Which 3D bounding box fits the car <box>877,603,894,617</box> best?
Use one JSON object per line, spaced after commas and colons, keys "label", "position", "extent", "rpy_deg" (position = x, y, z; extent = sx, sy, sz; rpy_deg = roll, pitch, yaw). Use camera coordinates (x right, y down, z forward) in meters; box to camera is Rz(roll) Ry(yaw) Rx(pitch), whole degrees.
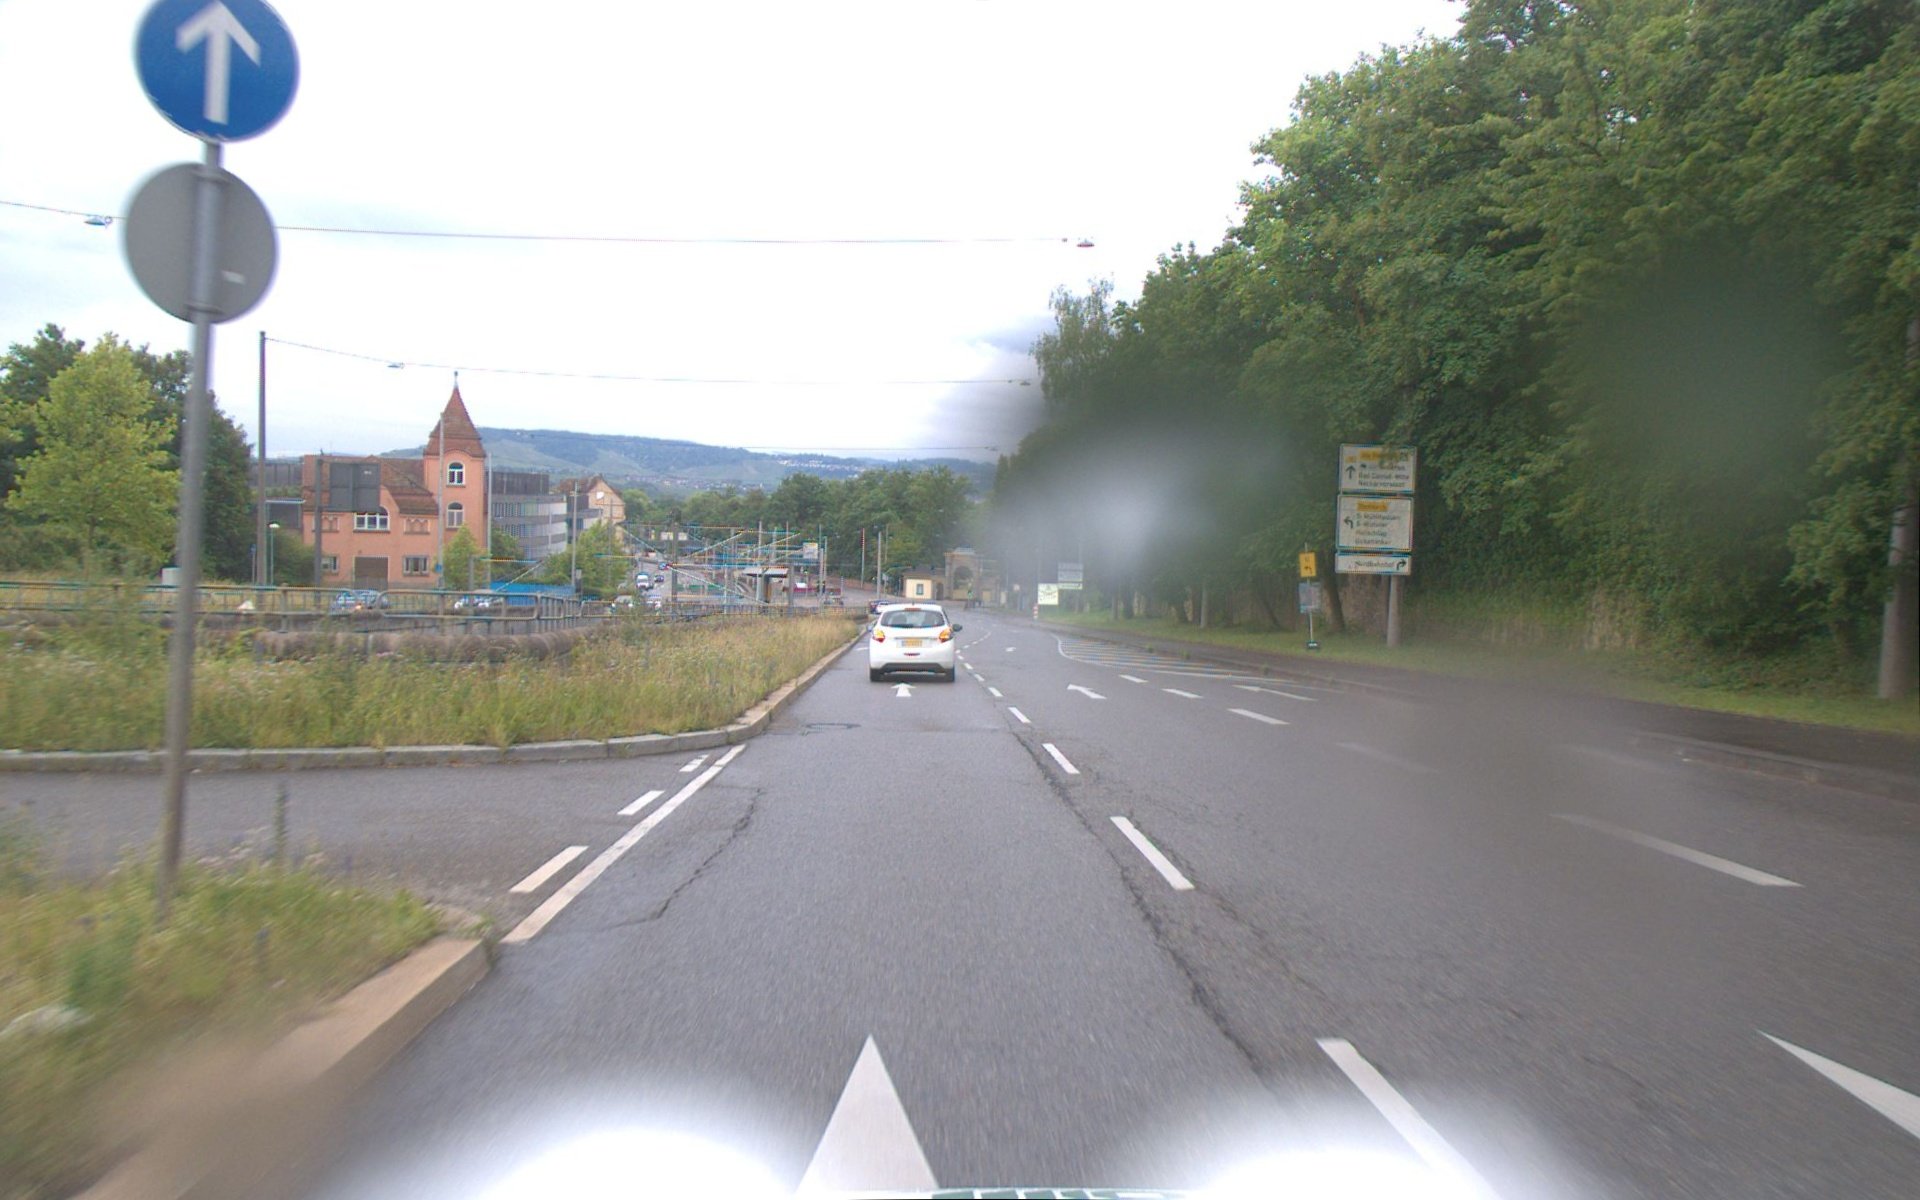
{"label": "car", "position": [-8.678, 1.133, 193.068], "extent": [1.785, 1.634, 3.999], "rpy_deg": [-1, 0, -1]}

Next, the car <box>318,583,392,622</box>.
{"label": "car", "position": [-27.221, 0.103, 74.528], "extent": [1.852, 1.669, 3.972], "rpy_deg": [1, 0, -1]}

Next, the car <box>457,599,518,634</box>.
{"label": "car", "position": [-24.528, 0.832, 85.980], "extent": [1.853, 1.672, 4.356], "rpy_deg": [4, 0, -1]}

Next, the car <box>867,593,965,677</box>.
{"label": "car", "position": [-0.857, 0.640, 32.884], "extent": [1.830, 1.537, 3.899], "rpy_deg": [0, 1, -1]}

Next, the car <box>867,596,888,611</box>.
{"label": "car", "position": [-10.090, 0.392, 201.026], "extent": [1.958, 1.735, 3.989], "rpy_deg": [1, 0, -12]}
